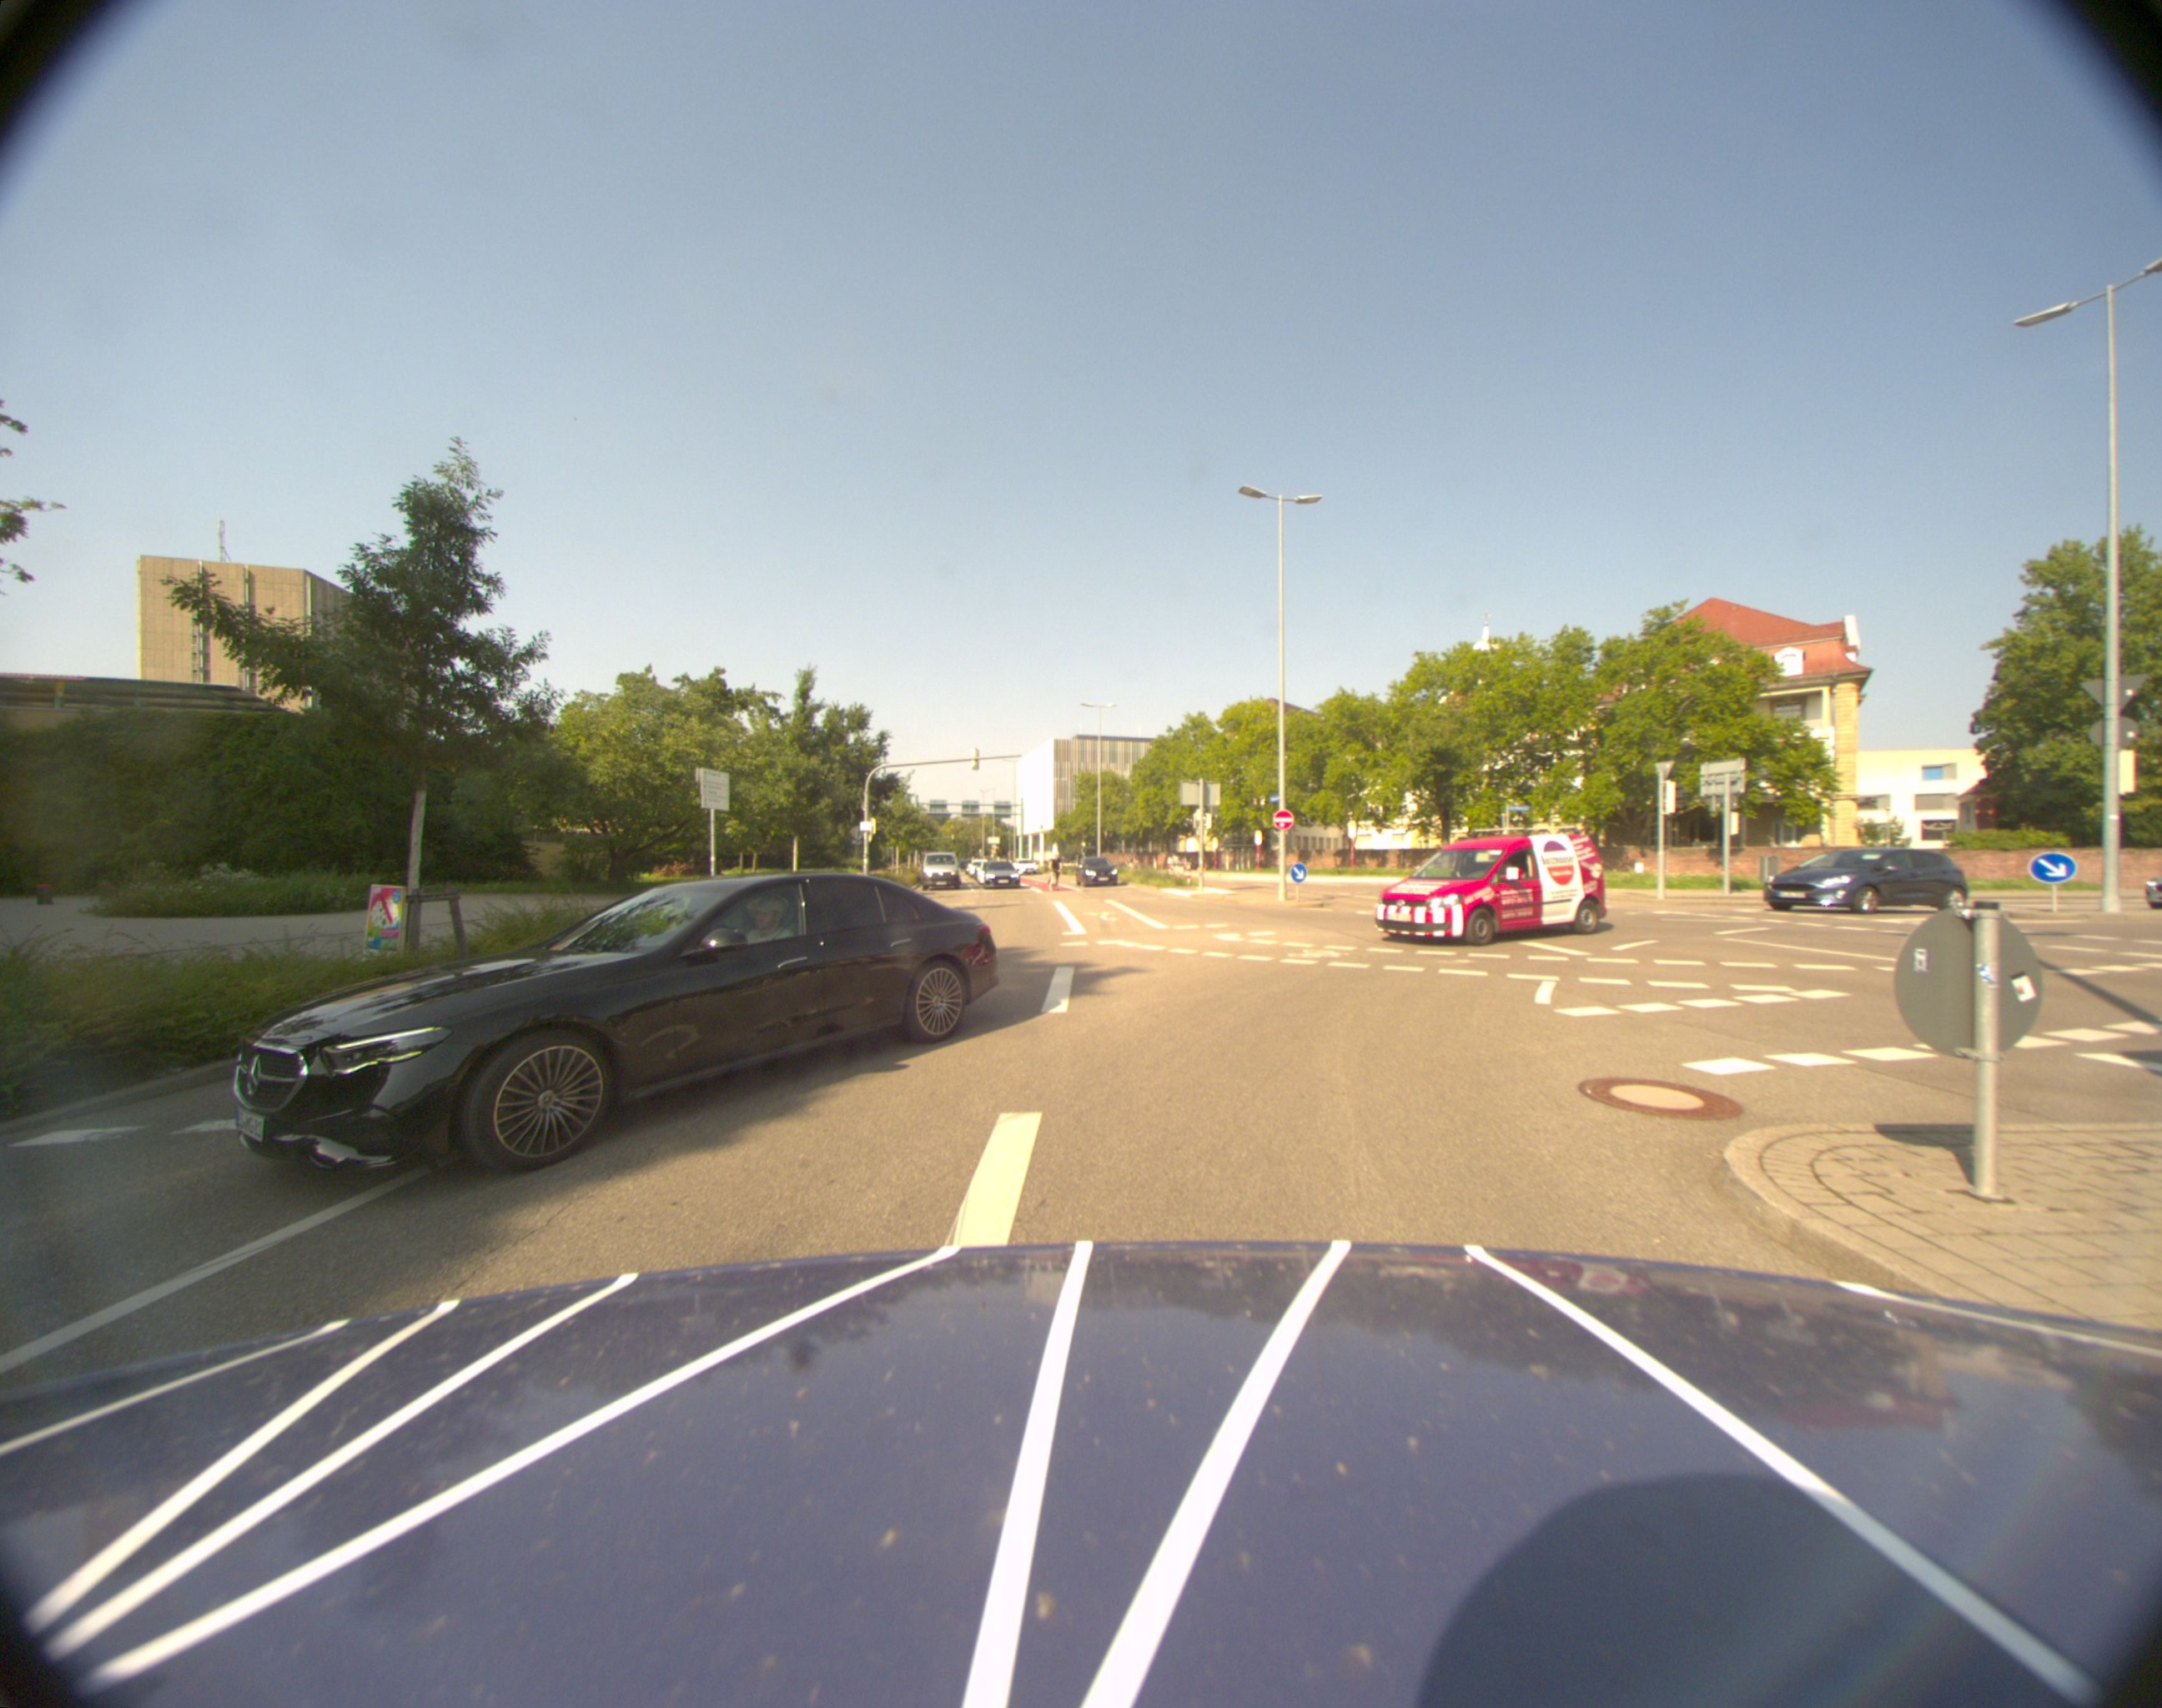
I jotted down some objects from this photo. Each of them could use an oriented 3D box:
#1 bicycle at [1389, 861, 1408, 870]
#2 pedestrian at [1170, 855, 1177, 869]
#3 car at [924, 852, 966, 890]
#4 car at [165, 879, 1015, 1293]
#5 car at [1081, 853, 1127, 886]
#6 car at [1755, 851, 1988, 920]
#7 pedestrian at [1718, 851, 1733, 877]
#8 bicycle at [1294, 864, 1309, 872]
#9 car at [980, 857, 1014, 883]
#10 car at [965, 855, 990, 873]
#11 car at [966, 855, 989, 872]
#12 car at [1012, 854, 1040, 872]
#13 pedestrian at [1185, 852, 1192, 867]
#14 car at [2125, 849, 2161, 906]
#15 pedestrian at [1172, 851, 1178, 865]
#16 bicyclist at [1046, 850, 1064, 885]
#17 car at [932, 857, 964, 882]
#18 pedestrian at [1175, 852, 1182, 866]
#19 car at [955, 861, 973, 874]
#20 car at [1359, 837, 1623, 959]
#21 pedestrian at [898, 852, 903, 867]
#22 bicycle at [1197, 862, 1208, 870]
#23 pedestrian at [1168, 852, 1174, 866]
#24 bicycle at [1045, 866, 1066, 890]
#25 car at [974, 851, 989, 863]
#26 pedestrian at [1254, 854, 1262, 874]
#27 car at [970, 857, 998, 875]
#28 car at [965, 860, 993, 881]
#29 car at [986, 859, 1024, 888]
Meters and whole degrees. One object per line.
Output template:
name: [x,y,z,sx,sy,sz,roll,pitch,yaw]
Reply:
bicycle: [27.967,0.996,66.916,0.435,0.830,1.546,0,0,-38]
pedestrian: [10.840,0.936,88.991,0.520,1.641,0.593,1,-2,-30]
car: [-7.113,0.821,40.145,1.847,1.864,4.970,0,0,-7]
car: [-2.666,1.001,5.552,1.821,1.431,4.883,-1,0,31]
car: [1.147,0.763,40.263,1.853,1.569,4.712,-2,0,-6]
car: [17.523,0.643,16.883,4.324,1.418,1.639,0,0,-14]
pedestrian: [42.585,0.669,50.185,0.596,1.673,0.716,0,1,-45]
bicycle: [21.827,1.395,75.198,0.435,0.830,1.546,0,0,-35]
car: [-5.295,0.971,47.648,2.000,1.497,4.432,0,0,-7]
car: [-9.687,0.885,70.964,1.934,1.650,4.290,0,0,-13]
car: [-10.442,0.925,76.585,1.934,1.650,4.290,0,0,-13]
car: [-4.997,0.797,68.709,1.934,1.650,4.290,0,0,-13]
pedestrian: [12.486,0.655,88.365,0.484,1.641,0.593,1,-2,-30]
car: [28.934,0.581,19.191,3.862,1.425,1.719,0,0,-14]
pedestrian: [11.218,0.526,90.743,0.484,1.641,0.593,1,-2,-30]
bicyclist: [-1.216,0.640,35.847,0.749,1.626,0.875,0,0,-10]
car: [-8.407,0.968,48.335,1.810,1.497,3.965,0,0,-7]
pedestrian: [11.306,0.615,88.050,0.520,1.641,0.593,1,-2,-30]
car: [-15.156,1.768,98.496,1.934,1.650,4.290,0,0,-13]
car: [7.099,0.649,13.130,4.282,1.808,1.734,-1,0,-24]
pedestrian: [-21.926,0.660,92.327,0.624,1.835,0.640,0,1,-12]
bicycle: [14.130,1.383,88.401,0.434,0.830,1.546,0,0,-26]
pedestrian: [10.682,0.596,90.334,0.536,1.561,0.501,1,-2,-32]
bicycle: [-1.218,1.123,35.858,0.770,1.046,1.773,0,0,-9]
car: [-18.702,0.566,142.800,1.921,2.001,3.995,0,-2,-20]
pedestrian: [18.370,1.029,78.916,0.520,2.092,0.593,1,-2,-30]
car: [-8.341,0.974,65.042,1.934,1.497,4.290,0,0,-13]
car: [-7.611,1.205,56.492,2.000,1.497,4.431,0,0,-9]
car: [-4.078,0.996,40.292,1.911,1.392,4.917,0,0,-7]
